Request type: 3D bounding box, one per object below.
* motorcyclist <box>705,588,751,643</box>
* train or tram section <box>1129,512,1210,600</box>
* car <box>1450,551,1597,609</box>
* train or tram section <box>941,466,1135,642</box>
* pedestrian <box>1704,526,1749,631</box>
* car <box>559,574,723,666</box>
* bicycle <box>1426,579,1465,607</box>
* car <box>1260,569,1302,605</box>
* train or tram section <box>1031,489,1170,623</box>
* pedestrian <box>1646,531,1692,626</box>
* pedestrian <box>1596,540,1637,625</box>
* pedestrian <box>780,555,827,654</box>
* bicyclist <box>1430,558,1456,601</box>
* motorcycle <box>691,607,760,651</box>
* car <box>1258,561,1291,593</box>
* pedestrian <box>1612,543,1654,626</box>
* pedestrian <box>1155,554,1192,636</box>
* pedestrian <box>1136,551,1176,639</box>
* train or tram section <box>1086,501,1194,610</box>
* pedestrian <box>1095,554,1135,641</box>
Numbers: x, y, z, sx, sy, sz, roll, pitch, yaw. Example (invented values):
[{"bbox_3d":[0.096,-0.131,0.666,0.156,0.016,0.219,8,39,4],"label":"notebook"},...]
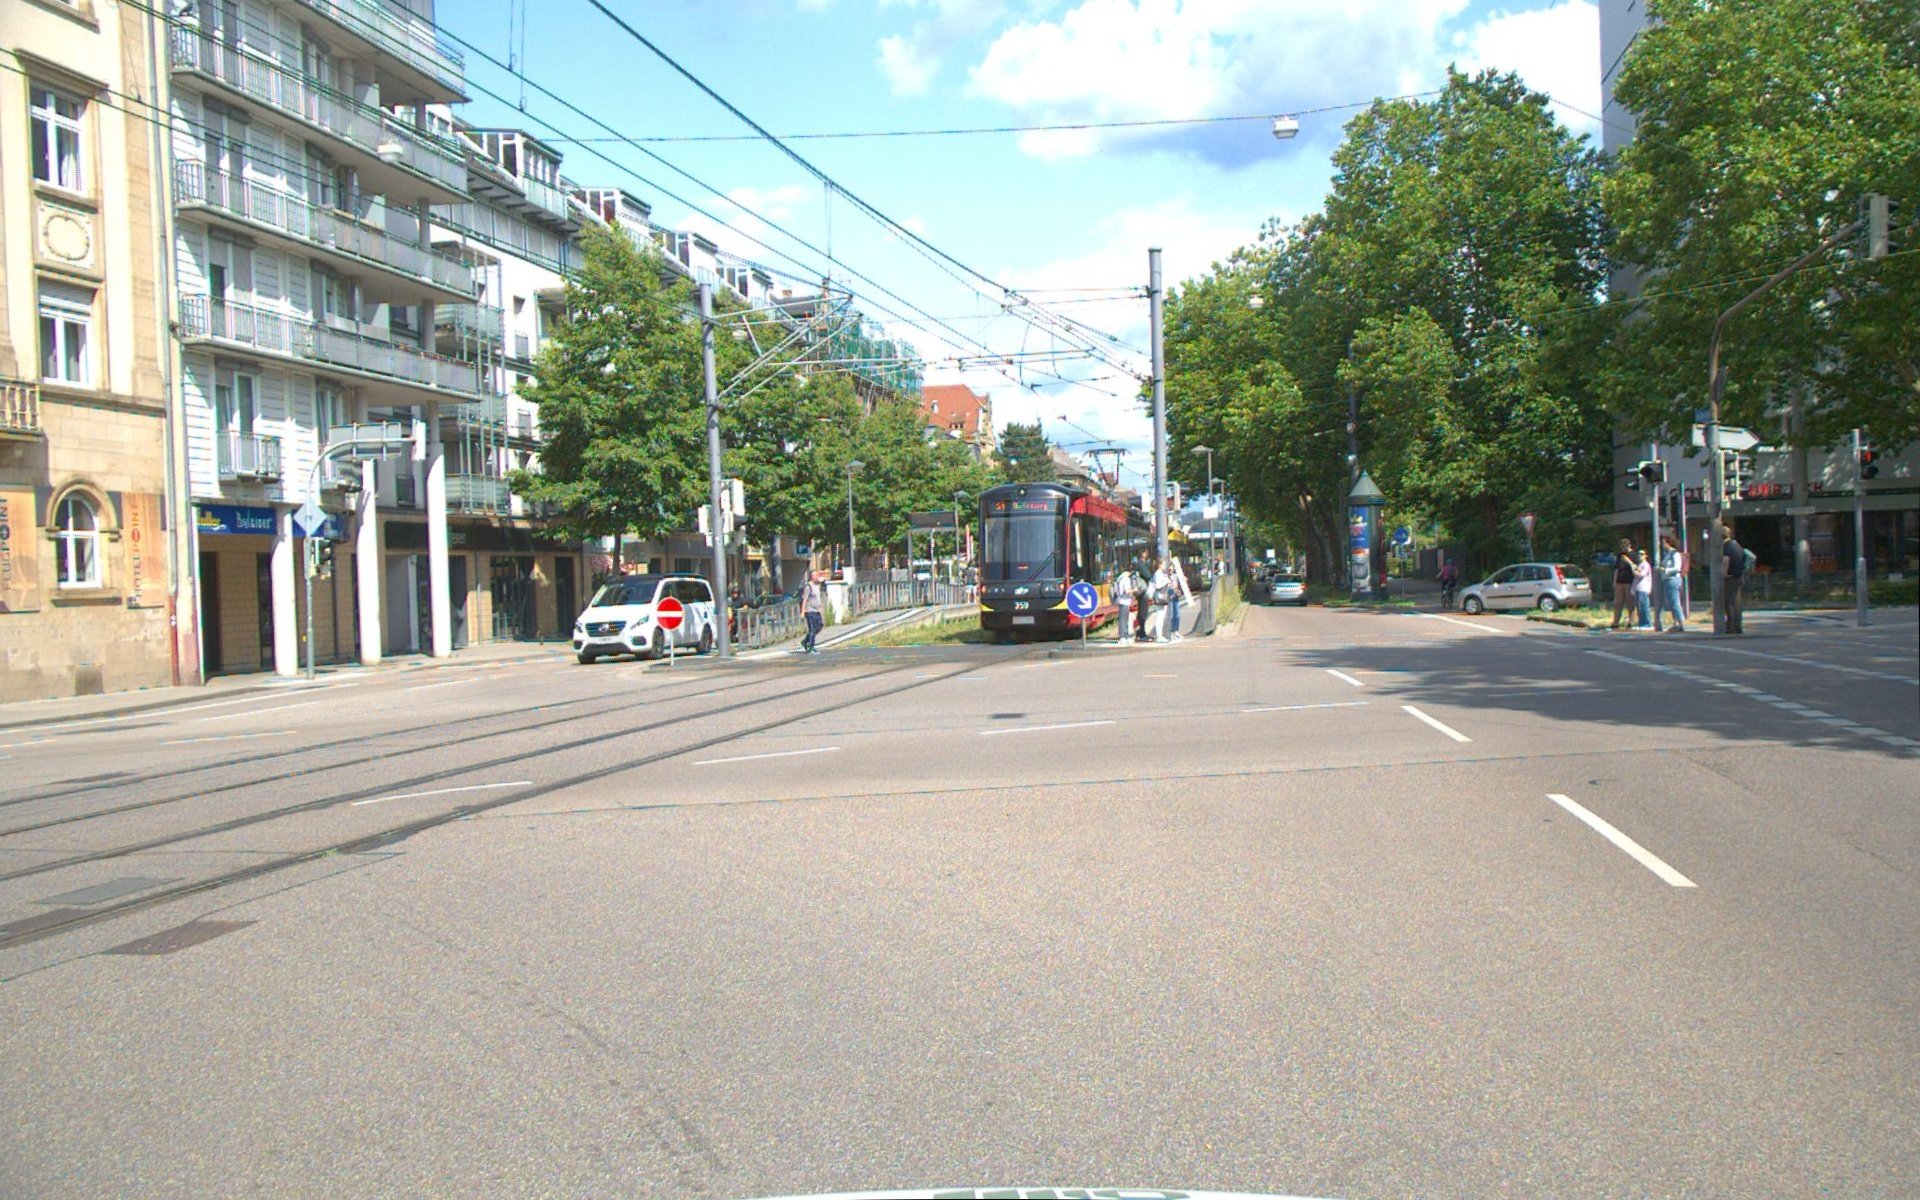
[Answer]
[{"bbox_3d":[-6.361,0.414,45.358,0.874,1.428,1.089,-2,0,11],"label":"motorcyclist"},{"bbox_3d":[9.422,-1.917,73.437,2.707,3.543,8.915,-2,1,12],"label":"train or tram section"},{"bbox_3d":[16.262,-0.574,47.837,1.721,1.510,3.616,-3,1,-41],"label":"car"},{"bbox_3d":[2.227,-1.101,40.738,2.736,3.622,11.388,-2,1,12],"label":"train or tram section"},{"bbox_3d":[13.794,-0.392,29.758,0.551,1.857,0.475,-3,1,-37],"label":"pedestrian"},{"bbox_3d":[-7.380,0.407,38.876,1.951,1.924,5.177,-2,1,10],"label":"car"},{"bbox_3d":[16.446,-0.237,56.111,0.603,0.895,2.537,-2,1,1],"label":"bicycle"},{"bbox_3d":[14.437,-0.618,74.248,1.711,1.478,3.609,-2,1,13],"label":"car"},{"bbox_3d":[4.611,-1.357,51.750,2.746,3.622,11.192,-2,1,12],"label":"train or tram section"},{"bbox_3d":[13.485,-0.414,31.456,0.518,1.765,0.555,-2,0,-11],"label":"pedestrian"},{"bbox_3d":[13.302,-0.354,33.500,0.501,1.700,0.555,-2,0,-11],"label":"pedestrian"},{"bbox_3d":[-3.334,0.089,35.241,0.722,2.048,0.704,-2,1,16],"label":"pedestrian"},{"bbox_3d":[16.432,-0.707,56.307,0.603,1.408,0.879,-2,1,1],"label":"bicyclist"},{"bbox_3d":[-6.368,0.773,45.197,0.874,1.041,3.105,-2,1,11],"label":"motorcycle"},{"bbox_3d":[20.773,-1.520,109.045,1.951,2.048,4.004,-1,1,13],"label":"car"},{"bbox_3d":[13.396,-0.306,32.926,0.501,1.625,0.555,-2,0,-11],"label":"pedestrian"},{"bbox_3d":[4.586,-0.108,35.537,0.655,1.732,0.648,-2,1,13],"label":"pedestrian"},{"bbox_3d":[3.982,-0.111,33.575,0.655,1.732,0.648,-2,1,13],"label":"pedestrian"},{"bbox_3d":[7.066,-1.683,63.132,2.746,3.622,12.168,-2,1,12],"label":"train or tram section"},{"bbox_3d":[3.169,-0.063,33.750,0.655,1.732,0.648,-2,1,13],"label":"pedestrian"}]
